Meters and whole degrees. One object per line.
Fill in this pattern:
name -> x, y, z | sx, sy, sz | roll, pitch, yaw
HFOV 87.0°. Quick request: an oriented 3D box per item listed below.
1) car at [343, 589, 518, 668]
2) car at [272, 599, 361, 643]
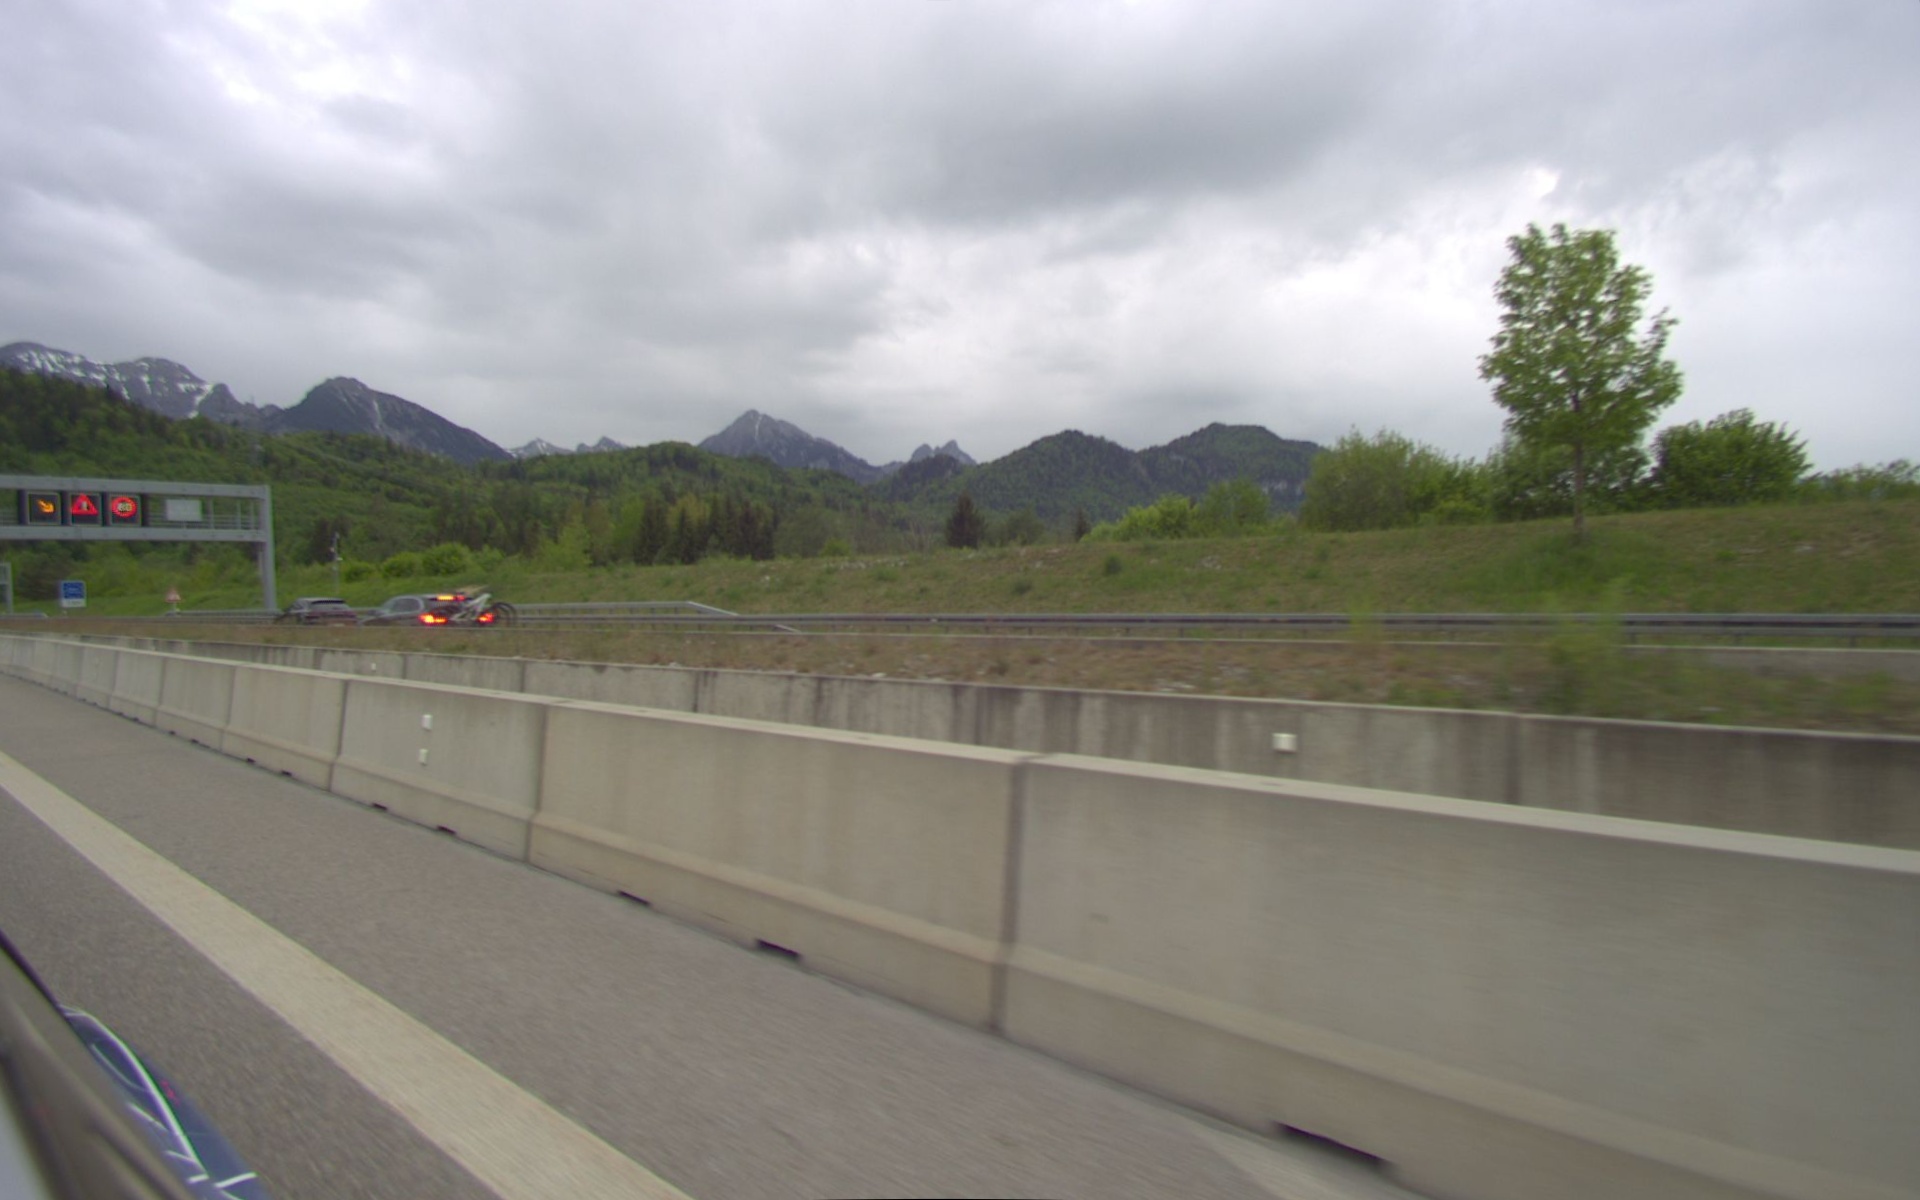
car -> -13.351, 0.692, 25.339 | 5.747, 1.749, 1.859 | -1, 0, 41
car -> -25.684, 0.824, 40.367 | 4.402, 1.620, 1.750 | -1, 0, 40
